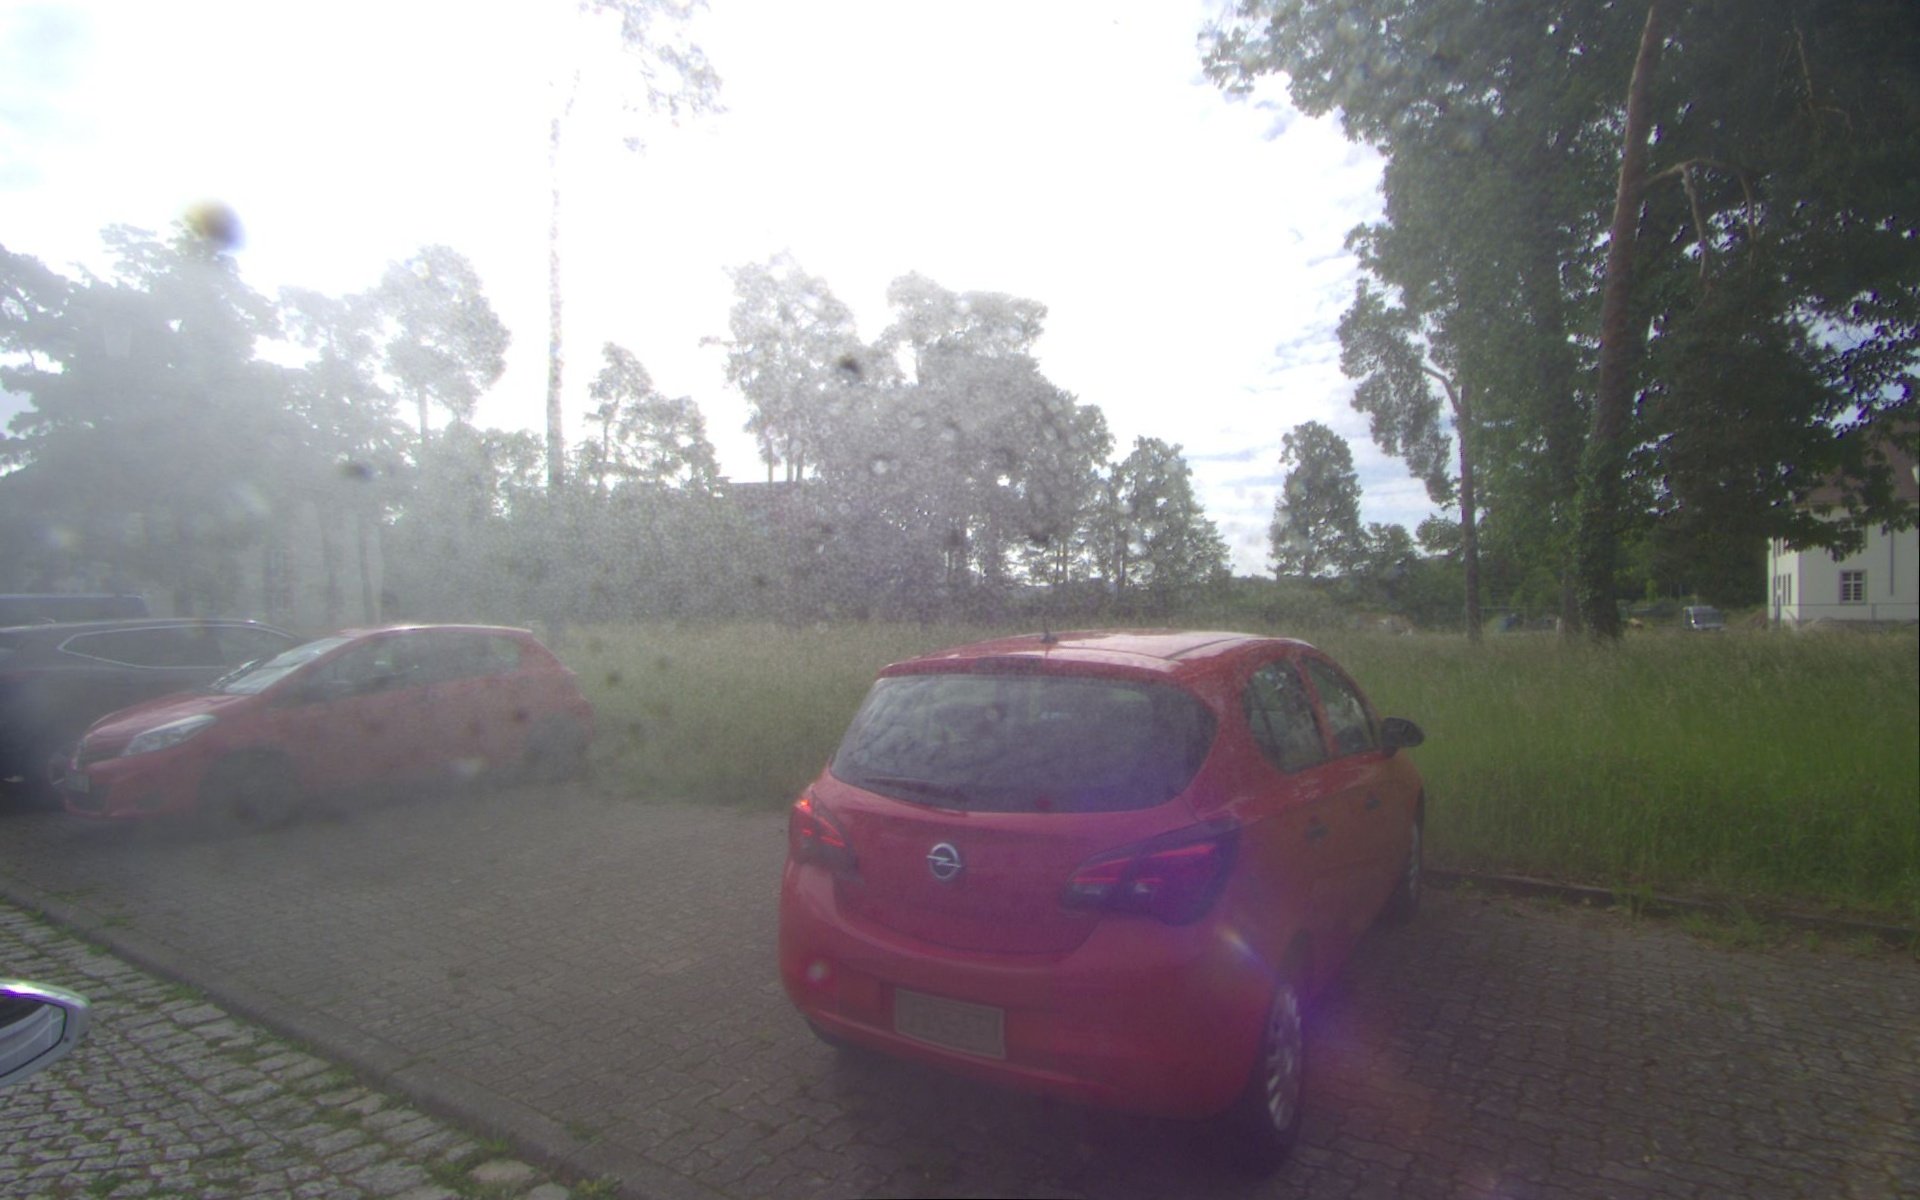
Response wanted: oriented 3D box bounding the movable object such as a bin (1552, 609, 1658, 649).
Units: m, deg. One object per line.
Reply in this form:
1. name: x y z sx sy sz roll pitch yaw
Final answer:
1. movable object such as a bin: 44.863 2.033 69.851 2.143 2.689 5.952 1 -2 -28

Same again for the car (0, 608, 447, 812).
1. car: -7.498 0.902 9.889 1.725 1.573 4.021 -1 0 31

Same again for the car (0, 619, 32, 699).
1. car: -19.138 1.117 17.758 1.502 1.469 3.665 -1 0 31

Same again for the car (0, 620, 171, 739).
1. car: -12.892 1.042 13.128 1.591 1.469 3.665 -1 0 31

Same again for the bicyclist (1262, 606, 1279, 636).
1. bicyclist: 17.678 1.212 57.060 0.762 1.717 0.723 0 -1 34

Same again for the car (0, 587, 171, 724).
1. car: -14.885 0.822 14.752 1.903 1.980 4.745 -1 0 31

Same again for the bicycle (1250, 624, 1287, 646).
1. bicycle: 17.593 1.975 57.043 1.906 1.244 0.721 -1 -1 35

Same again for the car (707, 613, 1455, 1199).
1. car: 0.951 0.838 4.361 1.754 1.479 3.817 -1 0 33

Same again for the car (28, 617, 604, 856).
1. car: -5.214 0.933 8.606 1.727 1.479 3.782 -1 0 33
